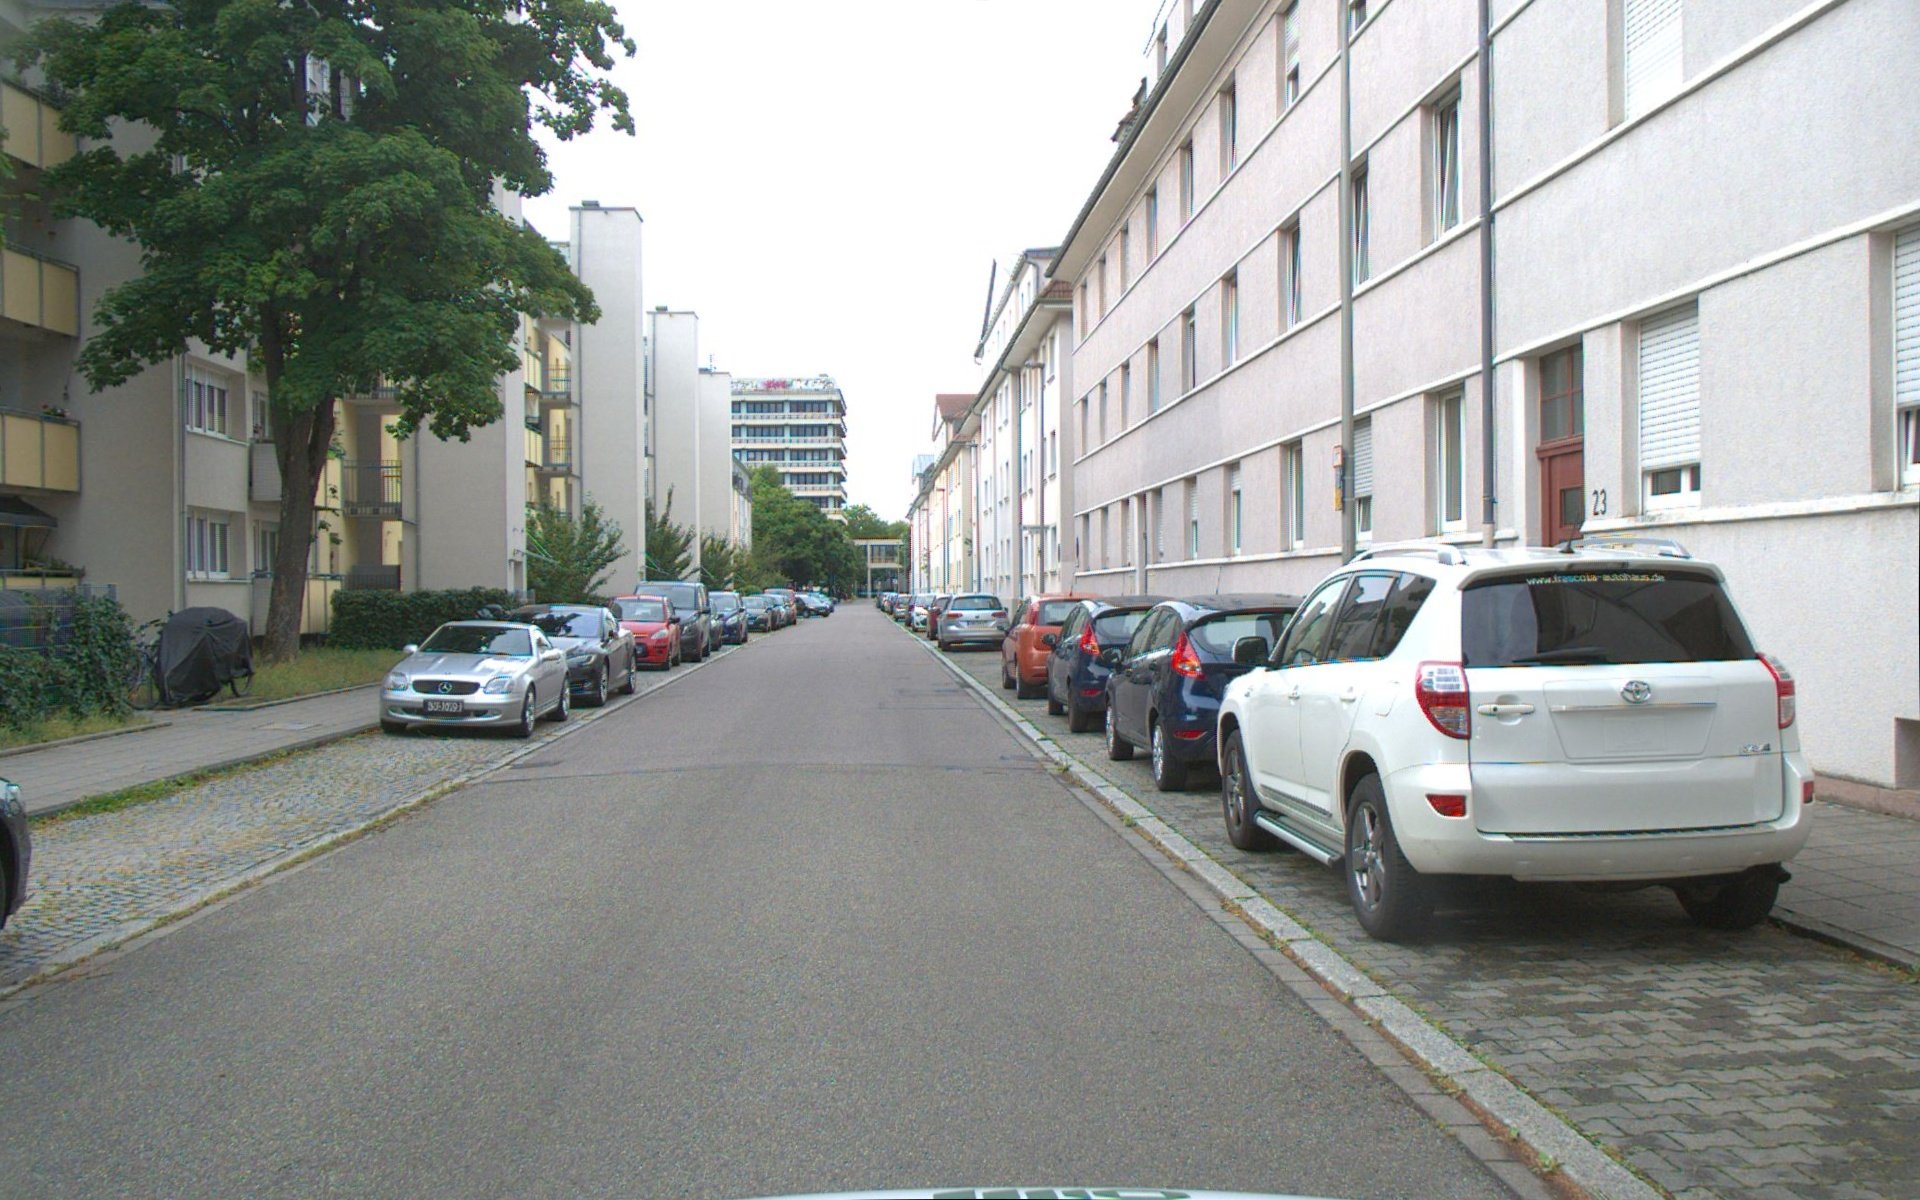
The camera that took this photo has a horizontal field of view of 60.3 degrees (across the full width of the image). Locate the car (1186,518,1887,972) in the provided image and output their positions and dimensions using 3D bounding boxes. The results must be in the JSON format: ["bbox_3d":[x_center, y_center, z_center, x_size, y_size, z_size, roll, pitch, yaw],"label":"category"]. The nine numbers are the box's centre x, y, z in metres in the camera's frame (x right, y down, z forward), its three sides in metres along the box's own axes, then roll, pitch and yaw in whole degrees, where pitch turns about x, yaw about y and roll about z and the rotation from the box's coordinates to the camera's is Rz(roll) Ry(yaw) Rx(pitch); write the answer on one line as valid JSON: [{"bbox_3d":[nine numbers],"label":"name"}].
[{"bbox_3d":[2.558,0.529,8.578,1.807,1.703,4.285,-2,1,-5],"label":"car"}]

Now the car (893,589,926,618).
[{"bbox_3d":[-2.924,0.180,94.608,1.783,1.604,3.881,0,1,-4],"label":"car"}]

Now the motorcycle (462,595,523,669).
[{"bbox_3d":[-9.212,0.601,32.651,0.664,1.379,2.227,2,0,-4],"label":"motorcycle"}]

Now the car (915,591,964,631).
[{"bbox_3d":[-0.847,0.419,66.206,1.783,1.531,3.750,0,1,-4],"label":"car"}]

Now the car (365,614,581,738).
[{"bbox_3d":[-5.883,0.867,20.437,1.663,1.280,4.013,1,0,-3],"label":"car"}]

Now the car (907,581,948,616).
[{"bbox_3d":[-1.548,-0.083,77.765,1.783,1.604,3.750,0,0,-4],"label":"car"}]

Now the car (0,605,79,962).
[{"bbox_3d":[-4.871,0.769,5.110,1.830,1.490,4.832,2,0,-3],"label":"car"}]

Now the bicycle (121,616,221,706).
[{"bbox_3d":[-10.460,0.783,21.980,0.540,1.120,1.774,0,0,-3],"label":"bicycle"}]

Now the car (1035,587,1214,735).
[{"bbox_3d":[1.834,0.638,19.433,1.536,1.499,3.694,-2,1,-2],"label":"car"}]

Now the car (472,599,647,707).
[{"bbox_3d":[-6.081,0.750,25.634,1.805,1.446,4.626,1,0,-3],"label":"car"}]

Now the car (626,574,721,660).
[{"bbox_3d":[-6.991,0.374,40.791,1.842,1.937,5.025,2,0,-5],"label":"car"}]

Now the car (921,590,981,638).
[{"bbox_3d":[-0.341,0.422,54.071,1.637,1.445,3.996,-2,1,-4],"label":"car"}]

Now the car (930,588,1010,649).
[{"bbox_3d":[0.208,0.452,43.735,1.721,1.493,4.596,0,1,-5],"label":"car"}]

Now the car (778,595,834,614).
[{"bbox_3d":[-10.664,0.319,114.559,3.662,1.235,1.540,1,1,32],"label":"car"}]

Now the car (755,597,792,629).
[{"bbox_3d":[-9.302,0.623,82.792,1.638,1.552,4.250,0,1,-4],"label":"car"}]

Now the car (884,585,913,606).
[{"bbox_3d":[-4.546,-0.325,121.917,1.954,1.422,3.997,2,0,-4],"label":"car"}]

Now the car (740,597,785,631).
[{"bbox_3d":[-8.241,0.567,69.282,1.638,1.375,3.814,0,1,-4],"label":"car"}]

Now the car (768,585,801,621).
[{"bbox_3d":[-9.848,0.151,93.027,1.638,1.972,3.739,0,0,-4],"label":"car"}]

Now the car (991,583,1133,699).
[{"bbox_3d":[1.457,0.549,24.908,1.663,1.552,3.823,-2,1,-3],"label":"car"}]

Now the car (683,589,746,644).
[{"bbox_3d":[-7.847,0.507,53.162,1.735,1.672,4.350,0,1,-5],"label":"car"}]

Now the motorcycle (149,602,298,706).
[{"bbox_3d":[-9.693,0.674,21.927,0.667,1.245,3.065,1,0,-2],"label":"motorcycle"}]

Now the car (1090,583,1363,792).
[{"bbox_3d":[2.111,0.622,14.068,1.536,1.504,3.869,-1,1,-2],"label":"car"}]

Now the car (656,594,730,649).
[{"bbox_3d":[-7.607,0.579,47.435,1.795,1.484,4.255,0,1,-5],"label":"car"}]

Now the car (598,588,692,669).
[{"bbox_3d":[-6.760,0.570,35.756,1.532,1.596,3.639,2,0,-4],"label":"car"}]
